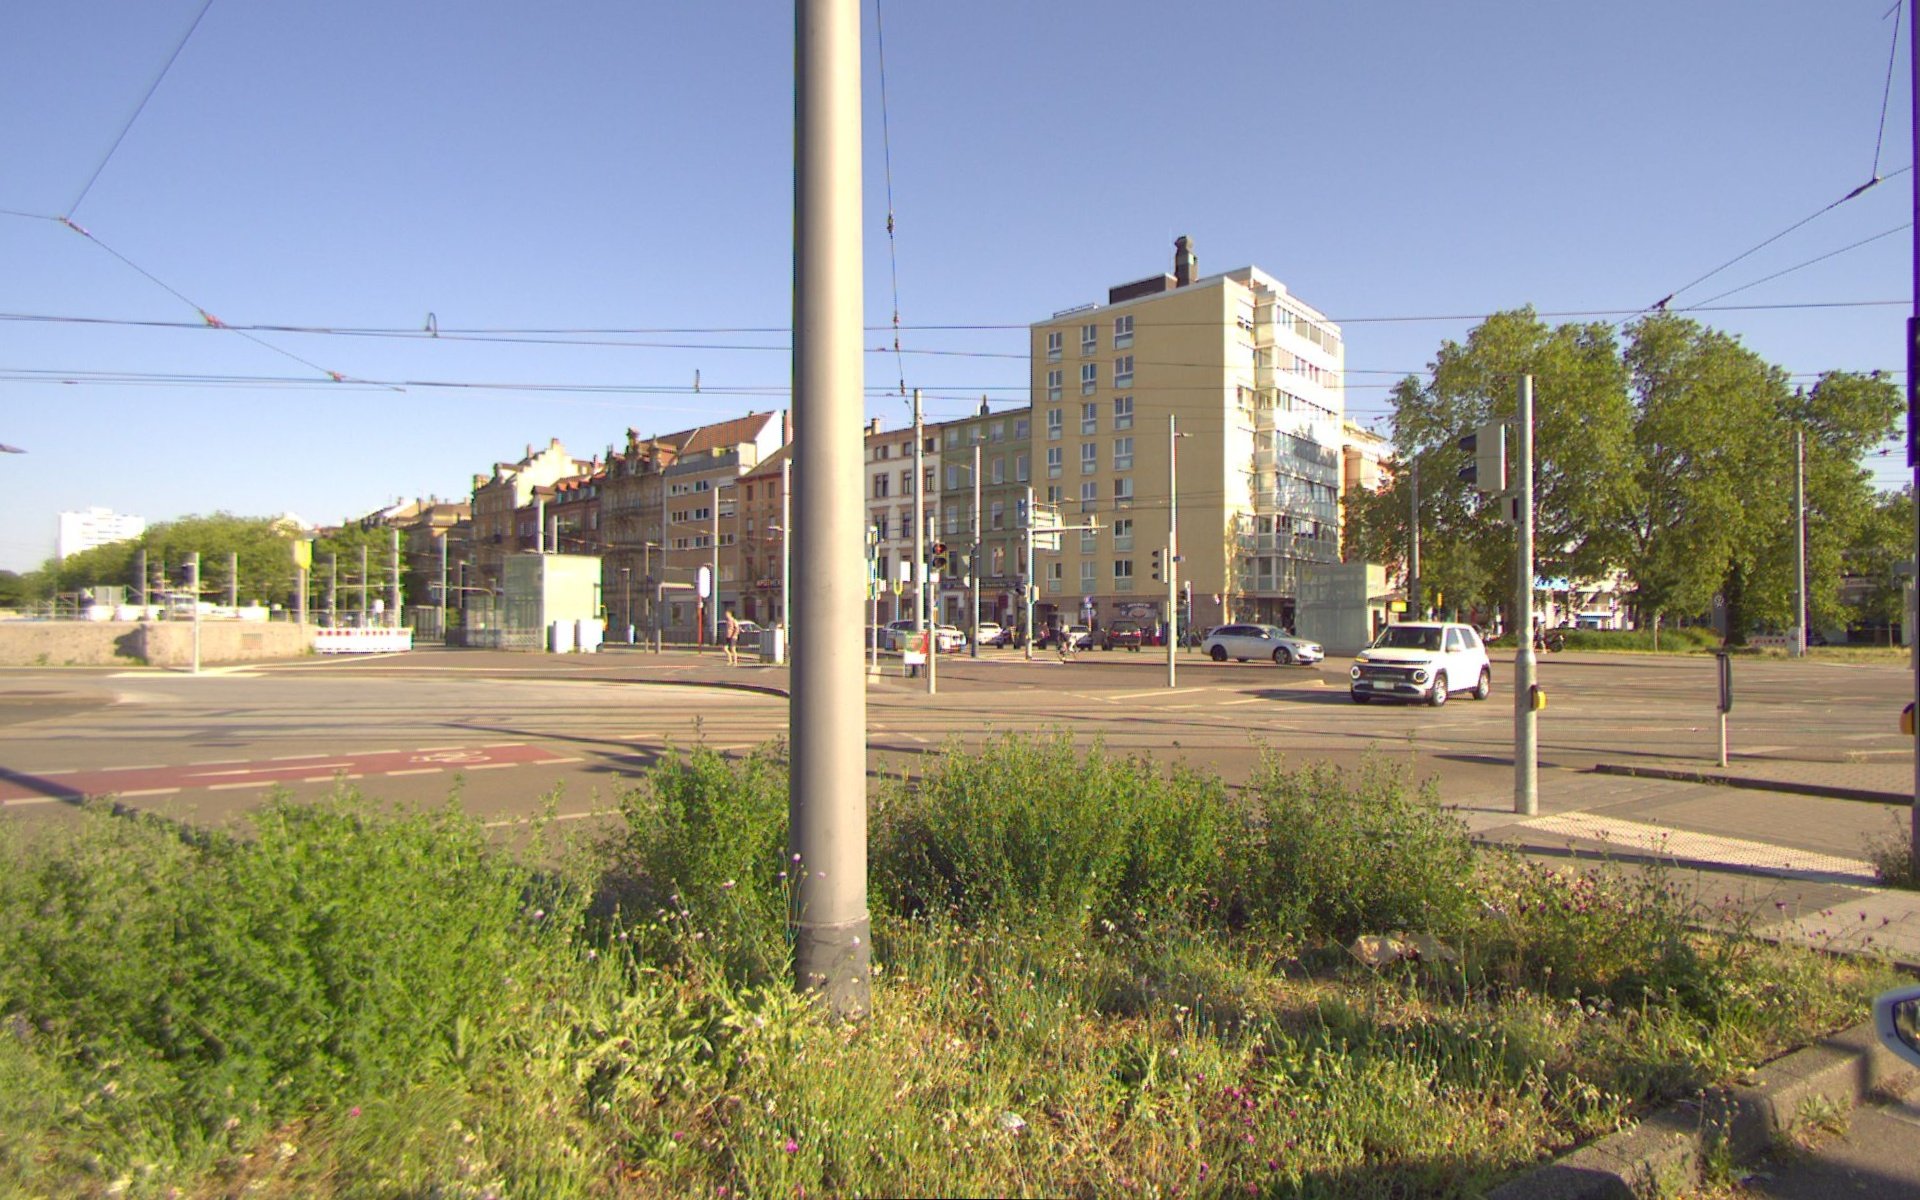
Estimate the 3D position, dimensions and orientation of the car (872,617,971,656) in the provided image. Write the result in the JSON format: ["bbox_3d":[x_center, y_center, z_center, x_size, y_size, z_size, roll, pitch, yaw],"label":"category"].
[{"bbox_3d":[-1.933,1.818,49.904,4.836,1.848,1.991,-1,-3,40],"label":"car"}]

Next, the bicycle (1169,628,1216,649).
[{"bbox_3d":[14.747,2.447,63.837,3.003,1.167,0.637,1,0,44],"label":"bicycle"}]

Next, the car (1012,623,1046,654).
[{"bbox_3d":[4.235,2.310,61.459,1.960,1.728,4.001,2,0,4],"label":"car"}]

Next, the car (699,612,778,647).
[{"bbox_3d":[-13.104,1.725,59.228,4.837,1.849,1.990,2,0,41],"label":"car"}]

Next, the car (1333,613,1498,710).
[{"bbox_3d":[9.133,1.154,19.978,1.761,1.684,3.976,2,0,44],"label":"car"}]

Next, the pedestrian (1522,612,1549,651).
[{"bbox_3d":[28.270,1.547,49.337,0.747,1.911,0.793,2,0,-22],"label":"pedestrian"}]

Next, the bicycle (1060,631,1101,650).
[{"bbox_3d":[8.235,2.798,69.017,3.003,1.167,0.637,1,0,44],"label":"bicycle"}]

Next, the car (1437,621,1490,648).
[{"bbox_3d":[32.010,2.202,63.807,3.973,1.588,1.753,2,0,-44],"label":"car"}]

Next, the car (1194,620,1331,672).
[{"bbox_3d":[11.273,1.674,37.677,1.773,1.684,4.661,2,0,-42],"label":"car"}]

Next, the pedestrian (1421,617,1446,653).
[{"bbox_3d":[23.409,1.739,49.649,0.747,1.728,0.793,2,0,-22],"label":"pedestrian"}]

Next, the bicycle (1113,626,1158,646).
[{"bbox_3d":[11.524,2.357,66.097,3.003,1.167,0.637,1,0,44],"label":"bicycle"}]

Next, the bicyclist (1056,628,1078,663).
[{"bbox_3d":[4.330,1.822,40.639,0.617,1.368,0.658,2,0,44],"label":"bicyclist"}]

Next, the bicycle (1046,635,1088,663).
[{"bbox_3d":[4.340,1.967,40.657,0.617,1.104,1.914,2,0,44],"label":"bicycle"}]

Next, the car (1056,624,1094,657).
[{"bbox_3d":[6.754,2.343,59.303,1.960,1.728,4.001,2,0,4],"label":"car"}]

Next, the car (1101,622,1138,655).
[{"bbox_3d":[9.107,2.165,57.466,1.684,1.728,4.001,2,0,4],"label":"car"}]

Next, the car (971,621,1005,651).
[{"bbox_3d":[1.803,2.290,63.926,1.960,1.728,4.001,2,0,4],"label":"car"}]

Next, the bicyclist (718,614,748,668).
[{"bbox_3d":[-7.283,1.304,32.281,0.653,1.706,0.980,2,0,2],"label":"bicyclist"}]

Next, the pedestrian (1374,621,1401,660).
[{"bbox_3d":[19.318,1.816,45.373,0.747,1.728,0.793,2,0,-22],"label":"pedestrian"}]

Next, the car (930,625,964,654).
[{"bbox_3d":[-0.829,2.582,66.649,1.960,1.728,4.001,2,0,4],"label":"car"}]

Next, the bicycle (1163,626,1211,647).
[{"bbox_3d":[14.297,2.300,63.326,3.003,1.167,0.637,1,0,44],"label":"bicycle"}]

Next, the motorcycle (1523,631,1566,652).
[{"bbox_3d":[29.146,2.056,50.107,1.753,0.926,0.676,2,0,41],"label":"motorcycle"}]
